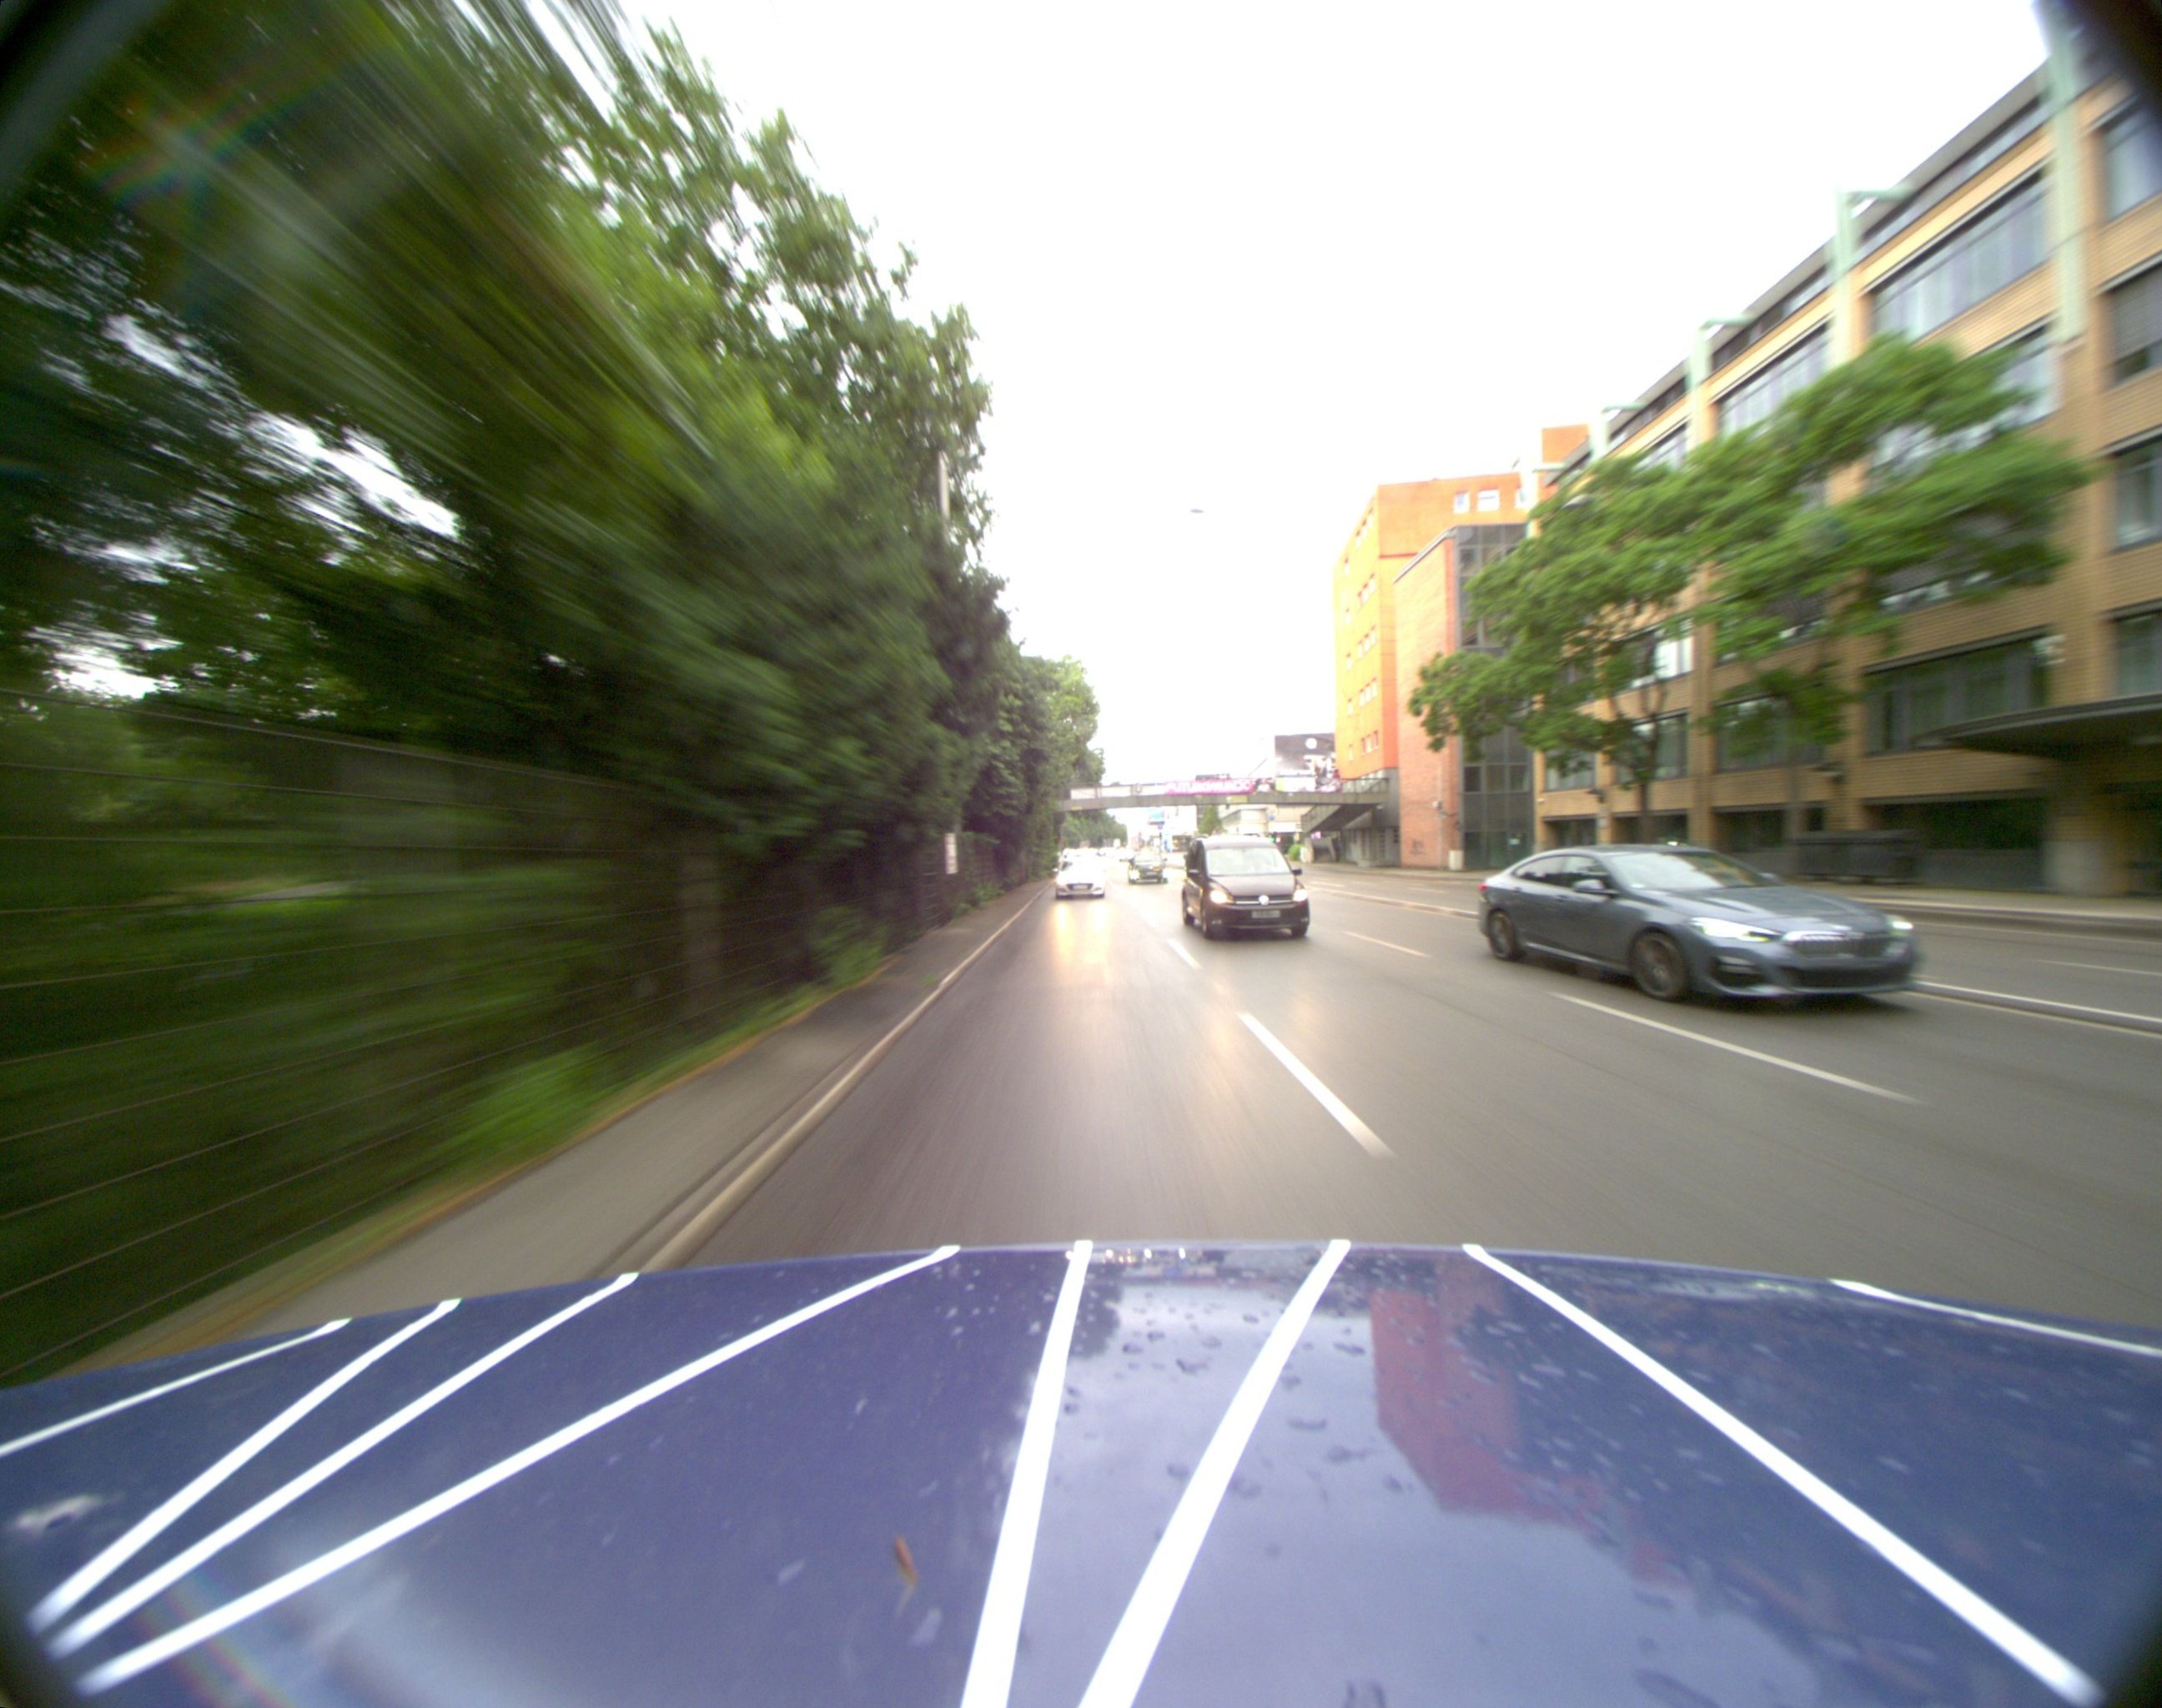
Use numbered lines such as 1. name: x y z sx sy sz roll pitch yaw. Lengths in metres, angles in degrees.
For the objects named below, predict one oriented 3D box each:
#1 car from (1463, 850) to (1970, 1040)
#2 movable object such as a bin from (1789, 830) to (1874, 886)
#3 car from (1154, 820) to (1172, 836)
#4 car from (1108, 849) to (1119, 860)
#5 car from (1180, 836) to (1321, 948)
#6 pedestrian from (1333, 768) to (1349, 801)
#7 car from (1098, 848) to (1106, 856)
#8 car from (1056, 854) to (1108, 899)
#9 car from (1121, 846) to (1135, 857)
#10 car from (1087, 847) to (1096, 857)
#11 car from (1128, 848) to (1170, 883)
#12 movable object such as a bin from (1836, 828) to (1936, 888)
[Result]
1. car: 6.043 0.694 8.130 1.669 1.407 4.539 -2 0 1
2. movable object such as a bin: 20.729 0.107 21.025 0.975 1.428 1.313 -3 1 -4
3. car: 8.862 -2.832 82.427 1.823 1.603 4.001 -3 1 6
4. car: 5.899 0.132 139.279 1.878 1.762 3.999 -3 1 1
5. car: 2.957 0.605 14.097 1.842 1.780 4.000 0 0 2
6. pedestrian: 18.236 -4.858 53.209 0.833 2.242 0.738 -1 2 -5
7. car: 4.994 -0.496 179.213 1.878 1.762 3.999 -3 1 1
8. car: 0.037 0.787 28.289 1.731 1.431 3.999 -3 1 0
9. car: 6.721 -0.383 108.398 1.730 1.502 3.732 -2 1 5
10. car: 2.129 -0.375 153.024 1.878 1.762 3.999 -3 1 1
11. car: 3.384 0.536 38.519 1.731 1.604 3.999 -3 1 0
12. movable object such as a bin: 20.800 0.095 19.672 1.071 1.428 1.372 -3 1 -4
